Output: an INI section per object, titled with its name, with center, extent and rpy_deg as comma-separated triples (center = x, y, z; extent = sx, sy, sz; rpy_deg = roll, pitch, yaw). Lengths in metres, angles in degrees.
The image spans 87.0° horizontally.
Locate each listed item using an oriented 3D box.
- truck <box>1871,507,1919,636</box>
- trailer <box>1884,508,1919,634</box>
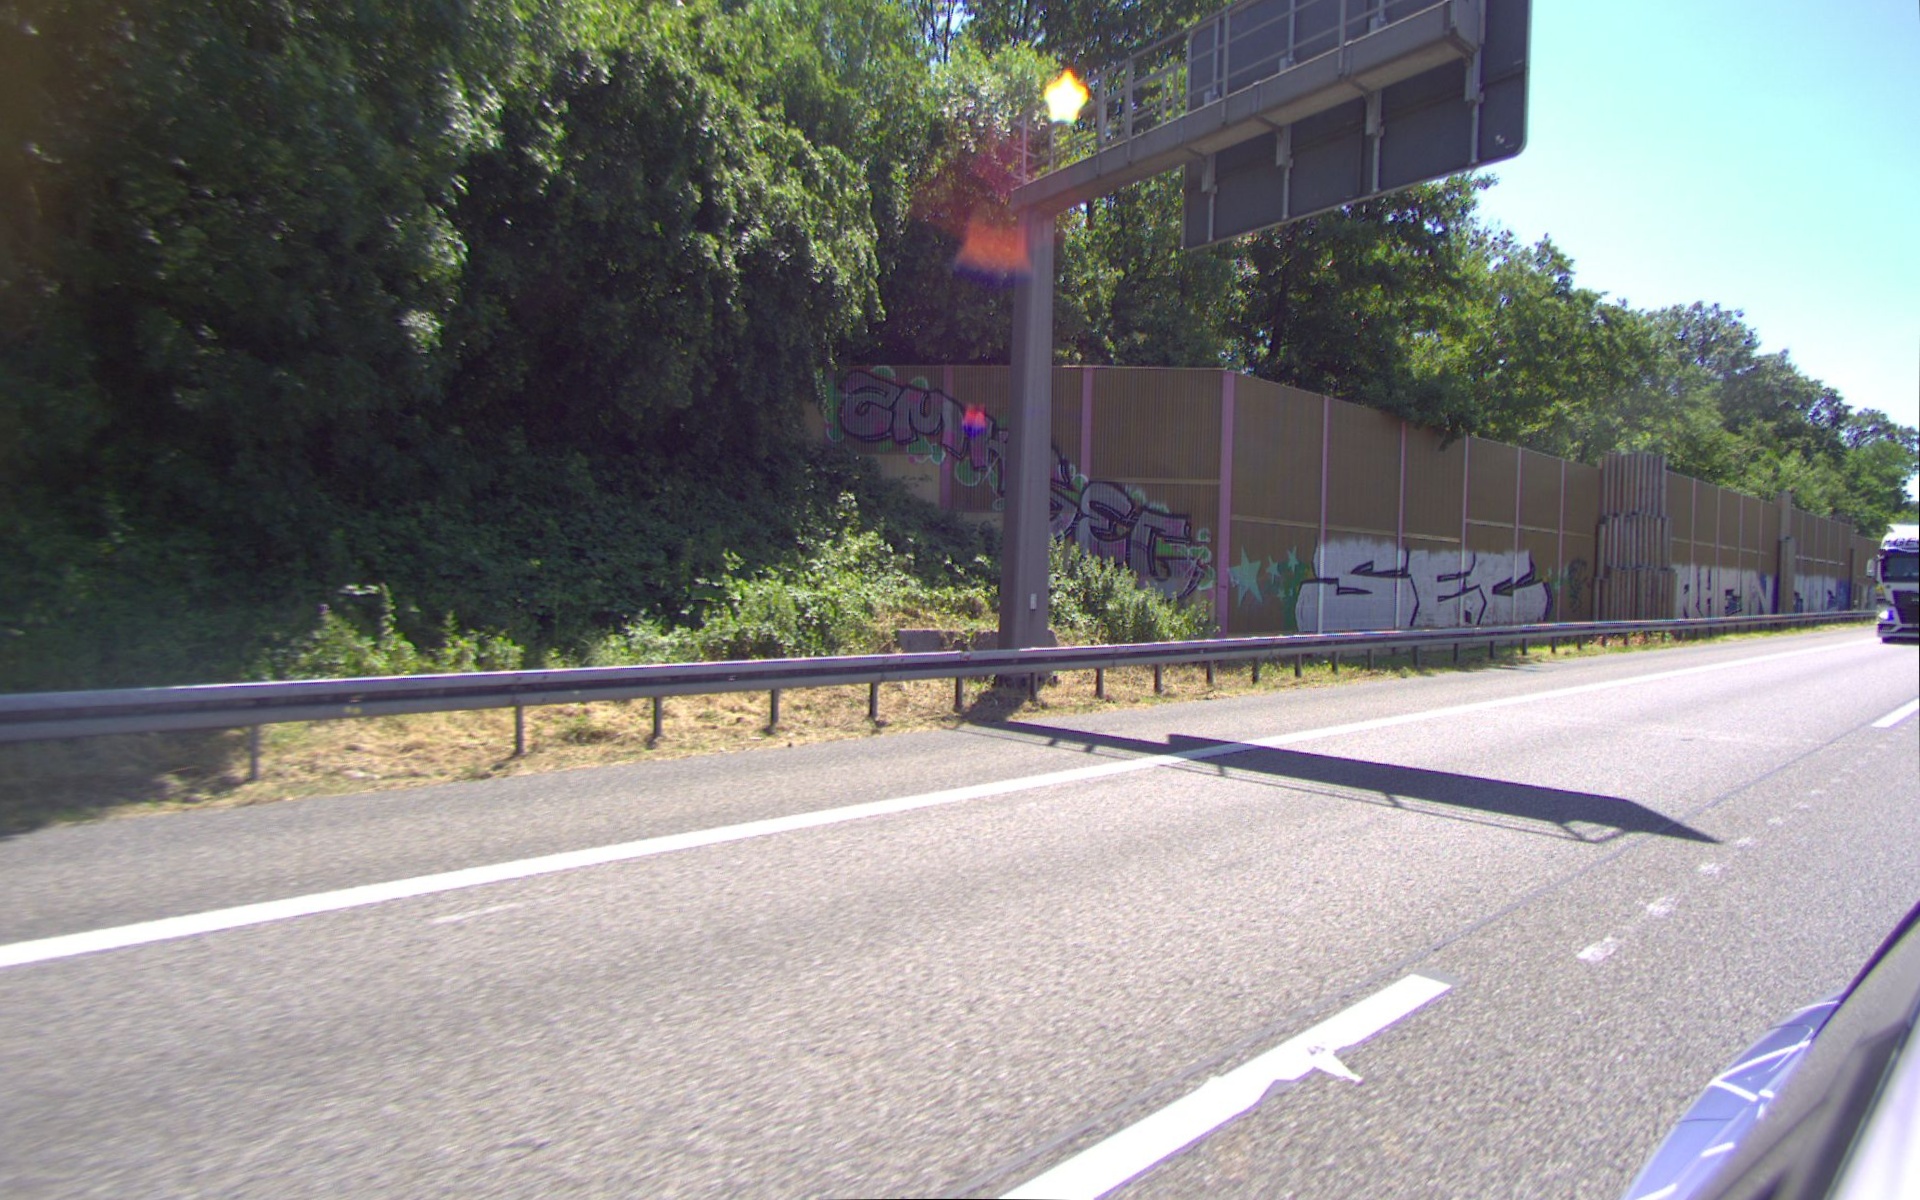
[truck]
center = 33.141, -0.949, 34.104
extent = 5.161, 4.176, 3.008
rpy_deg = -1, 1, -41
[trailer]
center = 38.296, -1.047, 38.653
extent = 13.184, 4.343, 2.998
rpy_deg = -1, 0, -41
